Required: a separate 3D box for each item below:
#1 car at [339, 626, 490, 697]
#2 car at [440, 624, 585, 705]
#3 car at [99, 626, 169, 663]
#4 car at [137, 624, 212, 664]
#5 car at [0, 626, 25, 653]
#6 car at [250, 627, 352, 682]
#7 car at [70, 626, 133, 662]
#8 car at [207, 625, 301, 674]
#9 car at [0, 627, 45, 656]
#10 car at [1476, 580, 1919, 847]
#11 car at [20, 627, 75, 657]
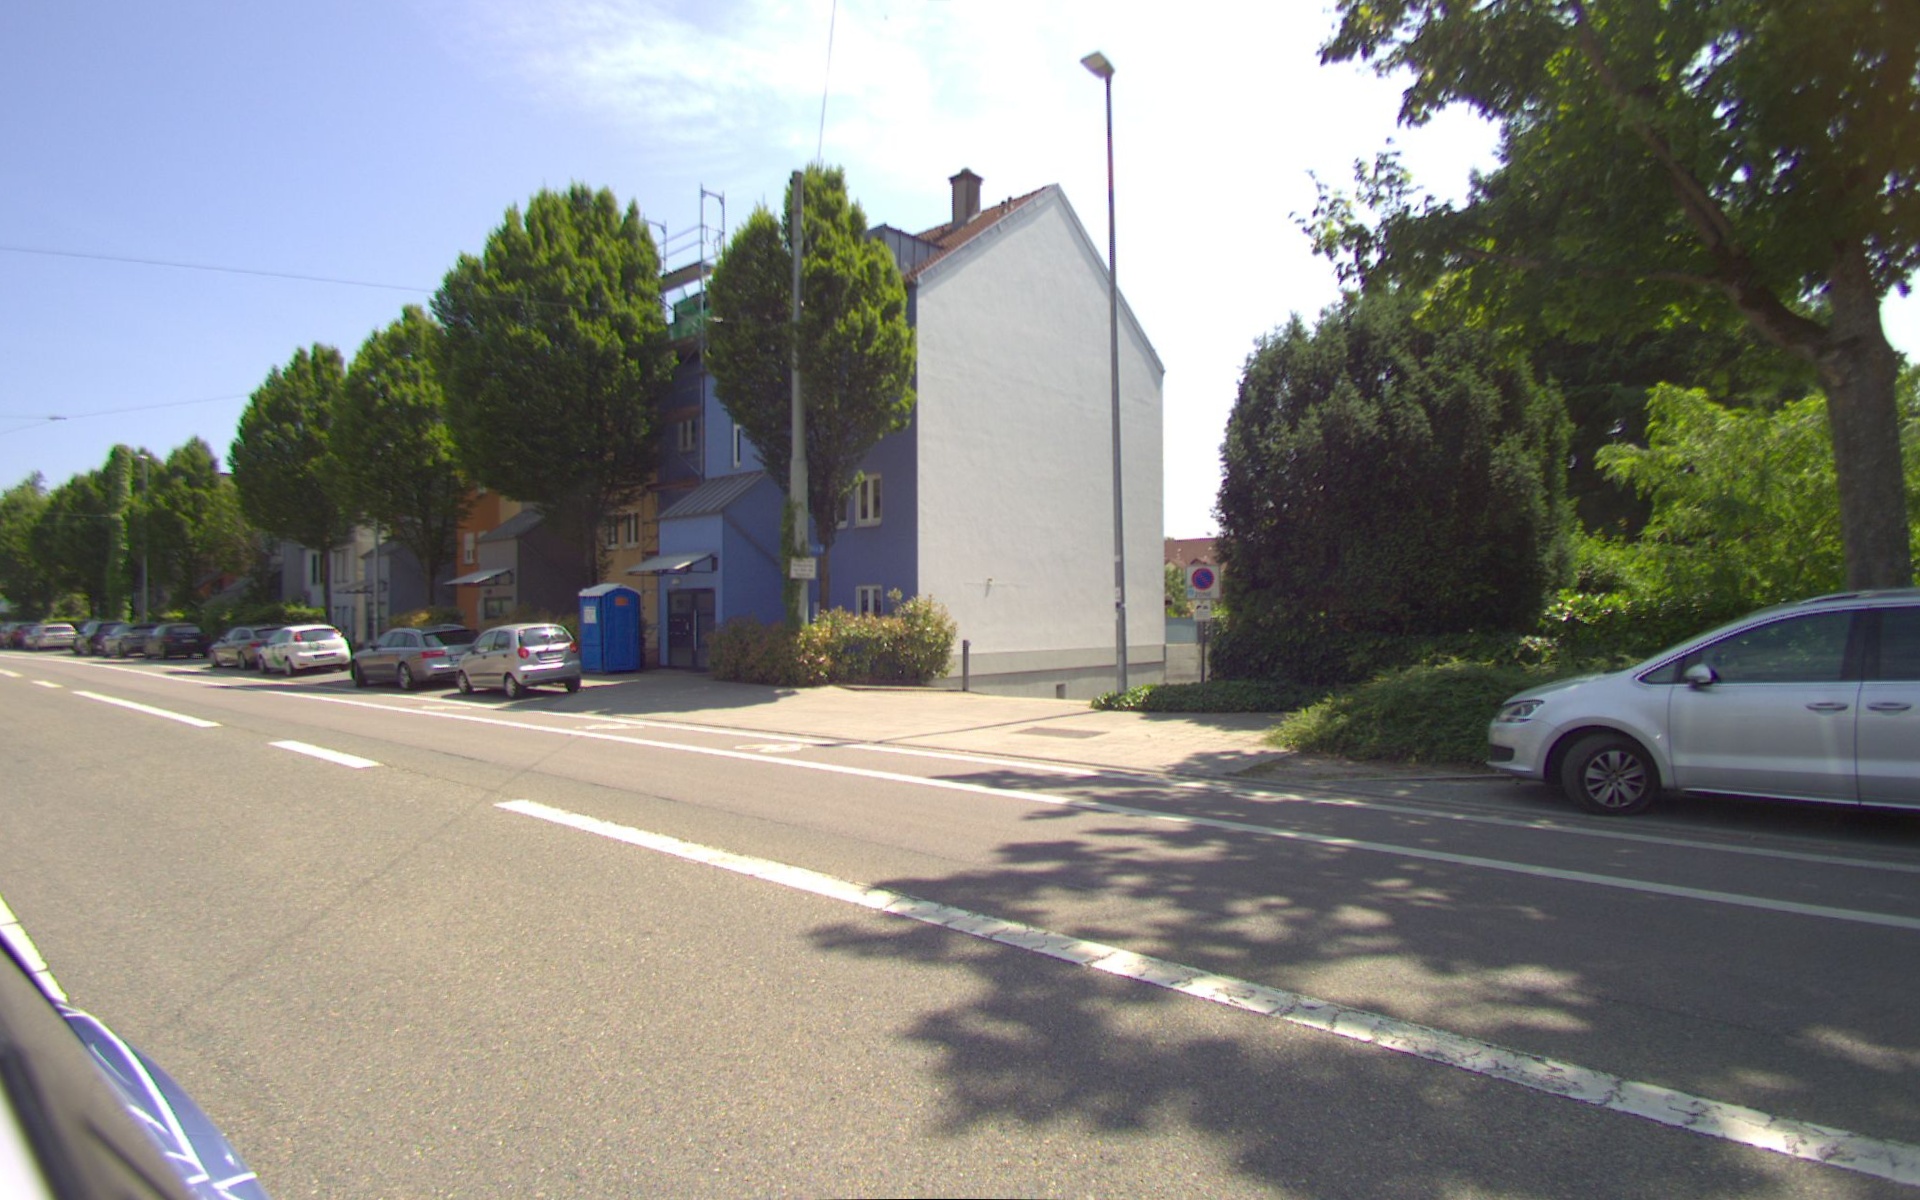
[{"bbox_3d":[-13.590,1.458,25.092,4.635,1.507,1.659,-1,2,40],"label":"car"},{"bbox_3d":[-9.672,1.329,21.808,3.279,1.507,1.487,-1,2,40],"label":"car"},{"bbox_3d":[-37.333,1.982,45.716,4.079,1.507,1.635,-1,2,40],"label":"car"},{"bbox_3d":[-33.336,1.850,42.927,4.079,1.507,1.635,-1,2,40],"label":"car"},{"bbox_3d":[-59.711,2.470,62.947,3.467,1.507,1.842,-1,2,40],"label":"car"},{"bbox_3d":[-20.801,1.665,31.913,3.646,1.507,1.635,-1,2,40],"label":"car"},{"bbox_3d":[-42.147,2.136,49.664,4.079,1.599,1.635,-1,2,40],"label":"car"},{"bbox_3d":[-24.770,1.692,35.471,4.079,1.507,1.635,-1,2,40],"label":"car"},{"bbox_3d":[-55.885,2.431,60.032,3.467,1.507,1.842,-1,2,40],"label":"car"},{"bbox_3d":[6.585,0.722,7.364,4.687,1.701,1.950,-2,-1,43],"label":"car"},{"bbox_3d":[-51.189,2.350,56.756,4.079,1.507,1.702,-1,2,40],"label":"car"}]
